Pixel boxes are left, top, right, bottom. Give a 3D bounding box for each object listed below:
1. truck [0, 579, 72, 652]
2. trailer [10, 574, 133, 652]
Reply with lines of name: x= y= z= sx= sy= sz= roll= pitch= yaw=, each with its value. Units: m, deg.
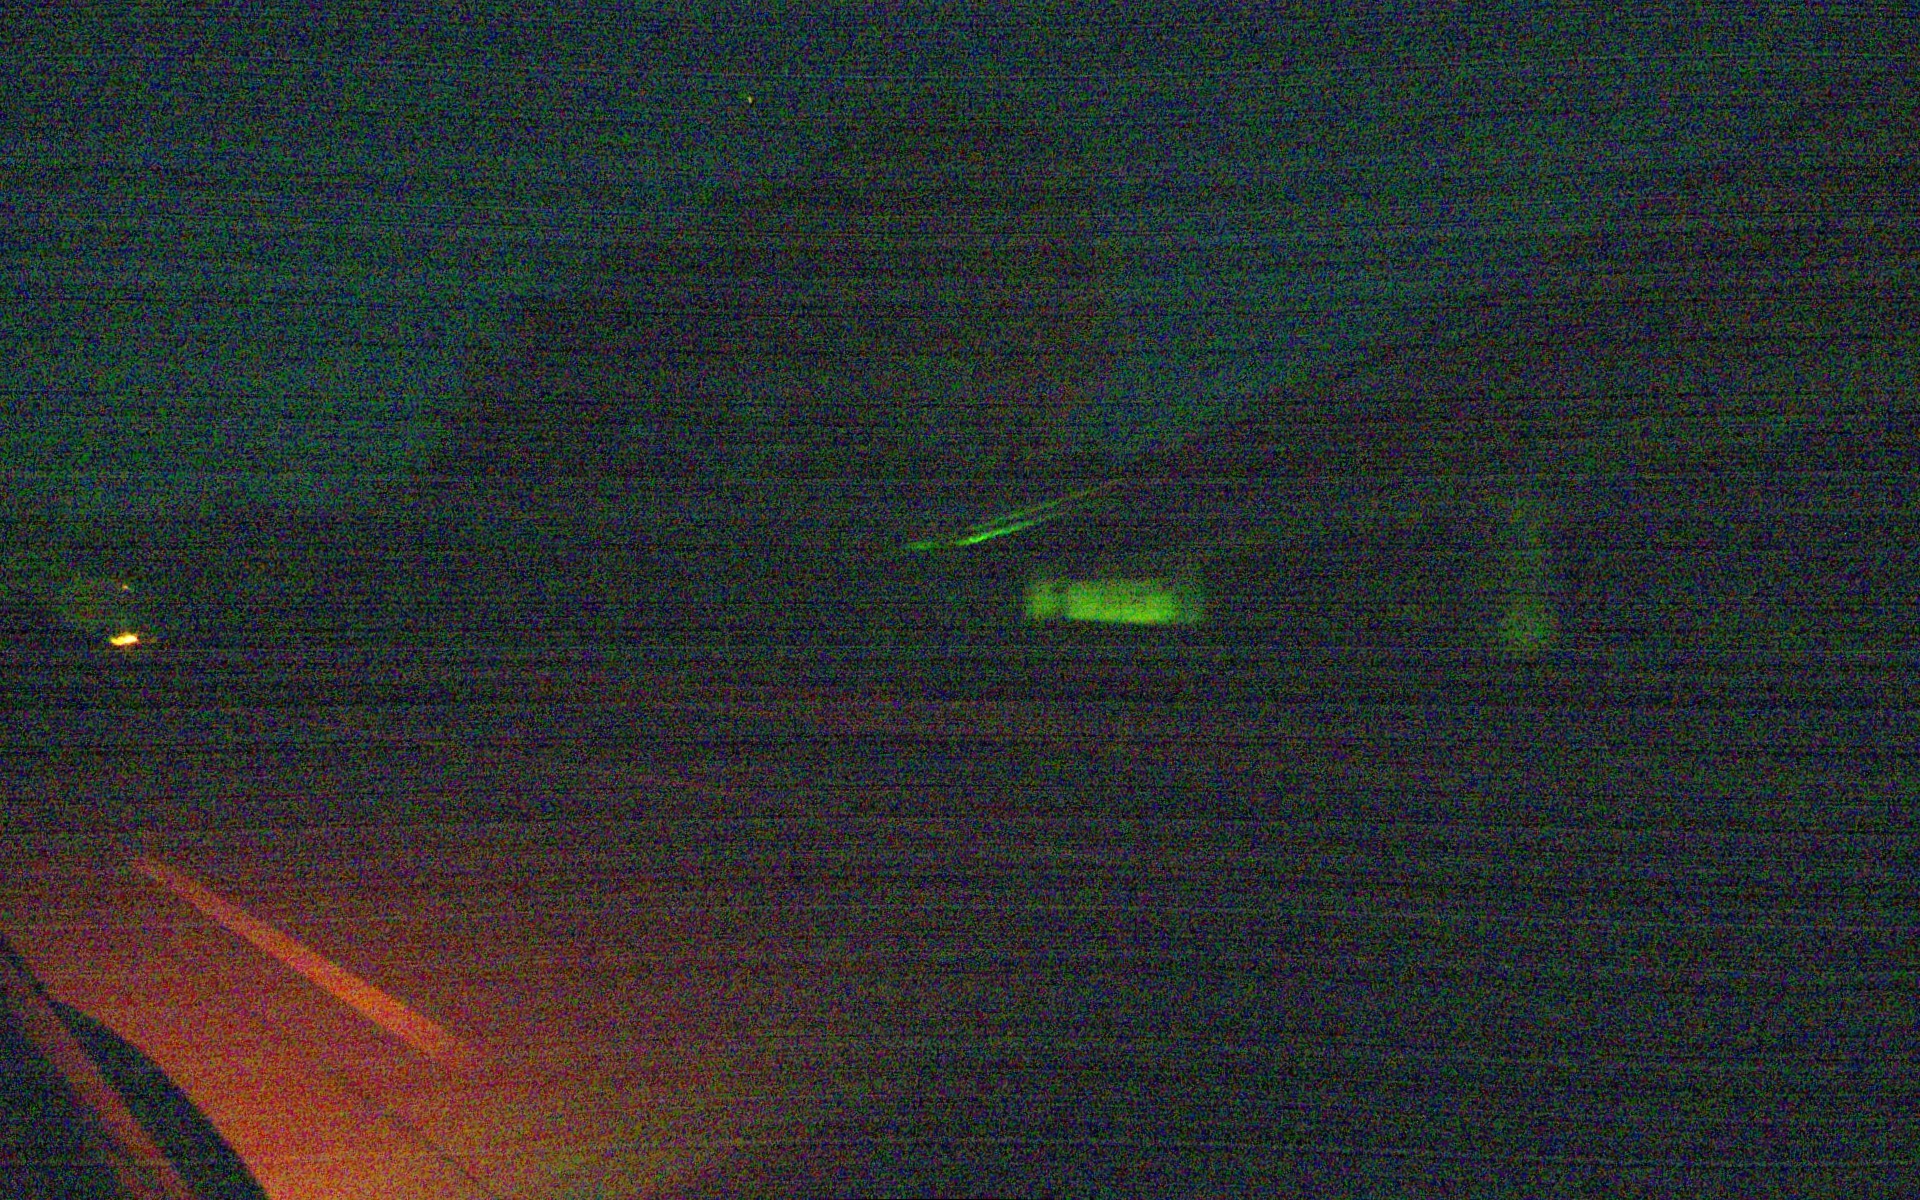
truck: x=-56.766 y=0.980 z=60.531 sx=10.620 sy=4.075 sz=2.659 roll=-1 pitch=-2 yaw=33
trailer: x=-48.538 y=0.787 z=55.192 sx=9.020 sy=3.987 sz=2.696 roll=-1 pitch=-2 yaw=33
